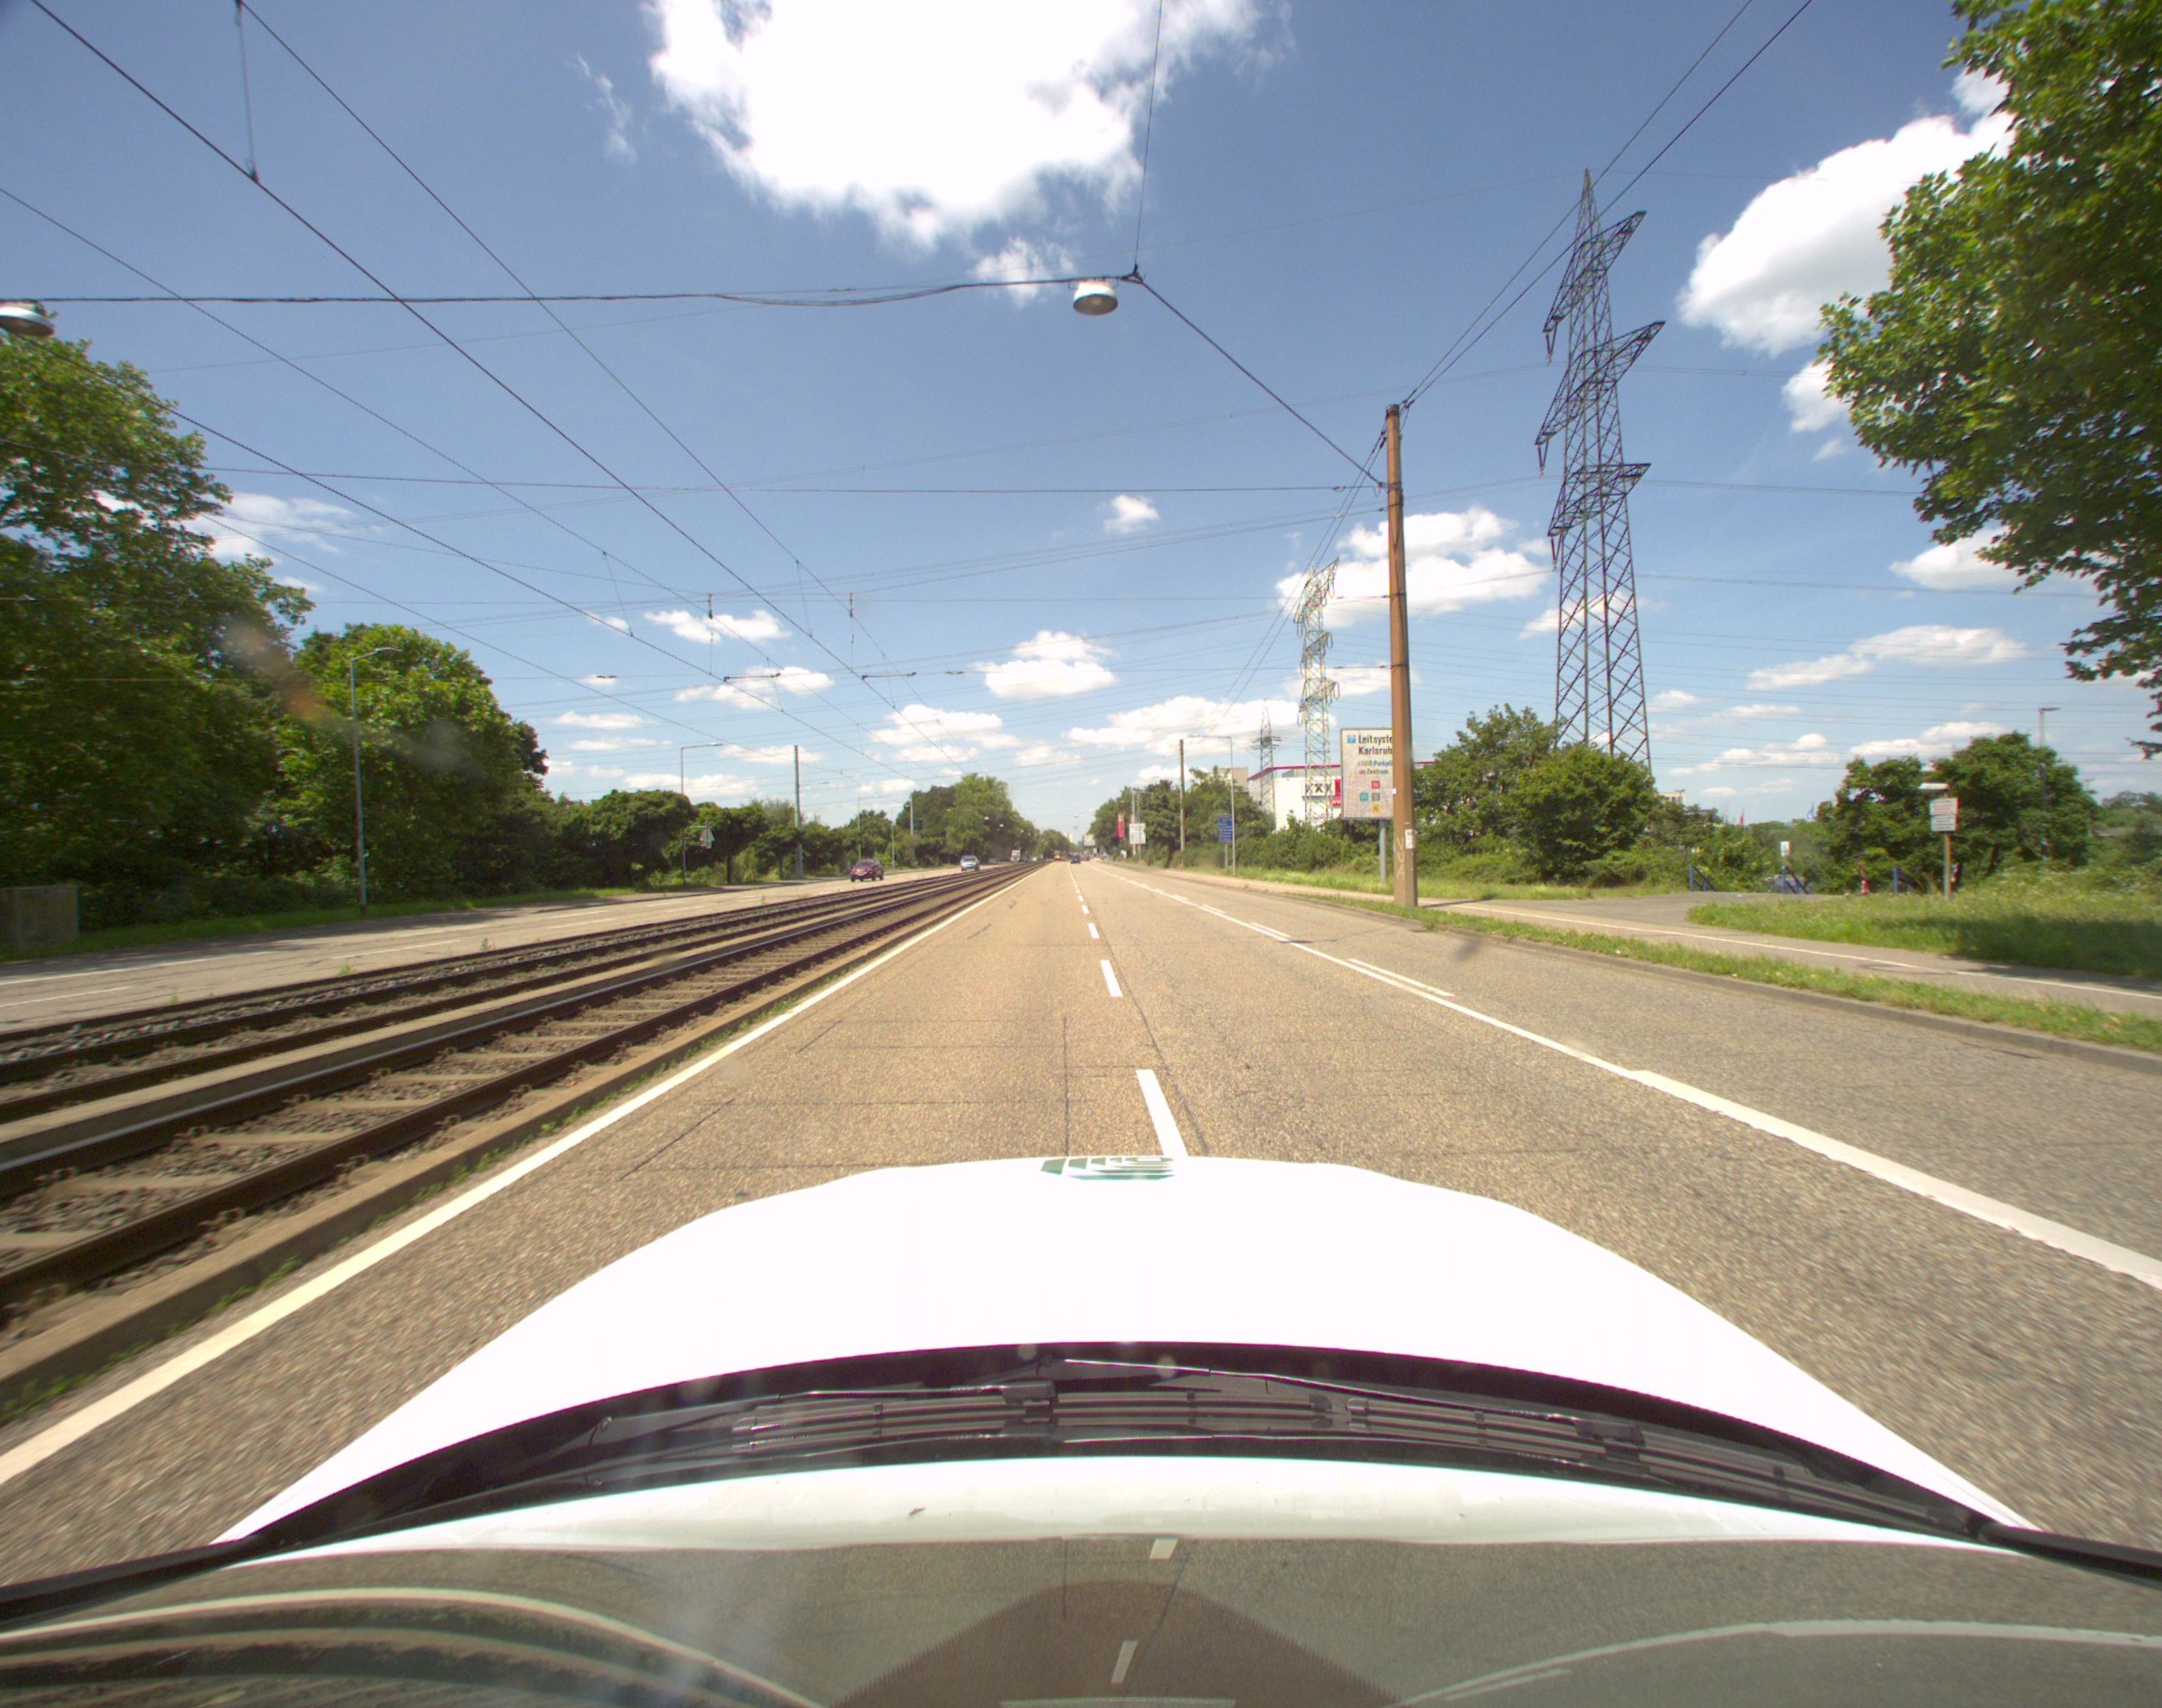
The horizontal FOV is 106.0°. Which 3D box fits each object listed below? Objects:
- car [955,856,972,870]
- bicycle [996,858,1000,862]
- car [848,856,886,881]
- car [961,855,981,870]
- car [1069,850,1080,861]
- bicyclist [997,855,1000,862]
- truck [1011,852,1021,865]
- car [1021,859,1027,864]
[{"bbox_3d":[-17.824,1.328,123.623,1.852,1.927,5.005,-3,0,-1],"label":"car"},{"bbox_3d":[-19.797,1.453,194.864,0.620,0.979,2.057,1,0,5],"label":"bicycle"},{"bbox_3d":[-15.991,1.054,61.059,1.796,1.625,4.209,-3,0,-1],"label":"car"},{"bbox_3d":[-12.835,0.928,95.111,1.796,1.625,4.491,-3,0,-1],"label":"car"},{"bbox_3d":[-1.157,0.279,146.146,1.894,1.805,3.974,0,0,-1],"label":"car"},{"bbox_3d":[-19.797,0.994,194.818,0.620,1.617,1.063,1,0,5],"label":"bicyclist"},{"bbox_3d":[-17.002,1.186,213.273,2.242,3.236,6.042,-2,0,0],"label":"truck"},{"bbox_3d":[-16.462,2.173,235.762,1.748,1.535,3.954,-3,0,-2],"label":"car"}]
